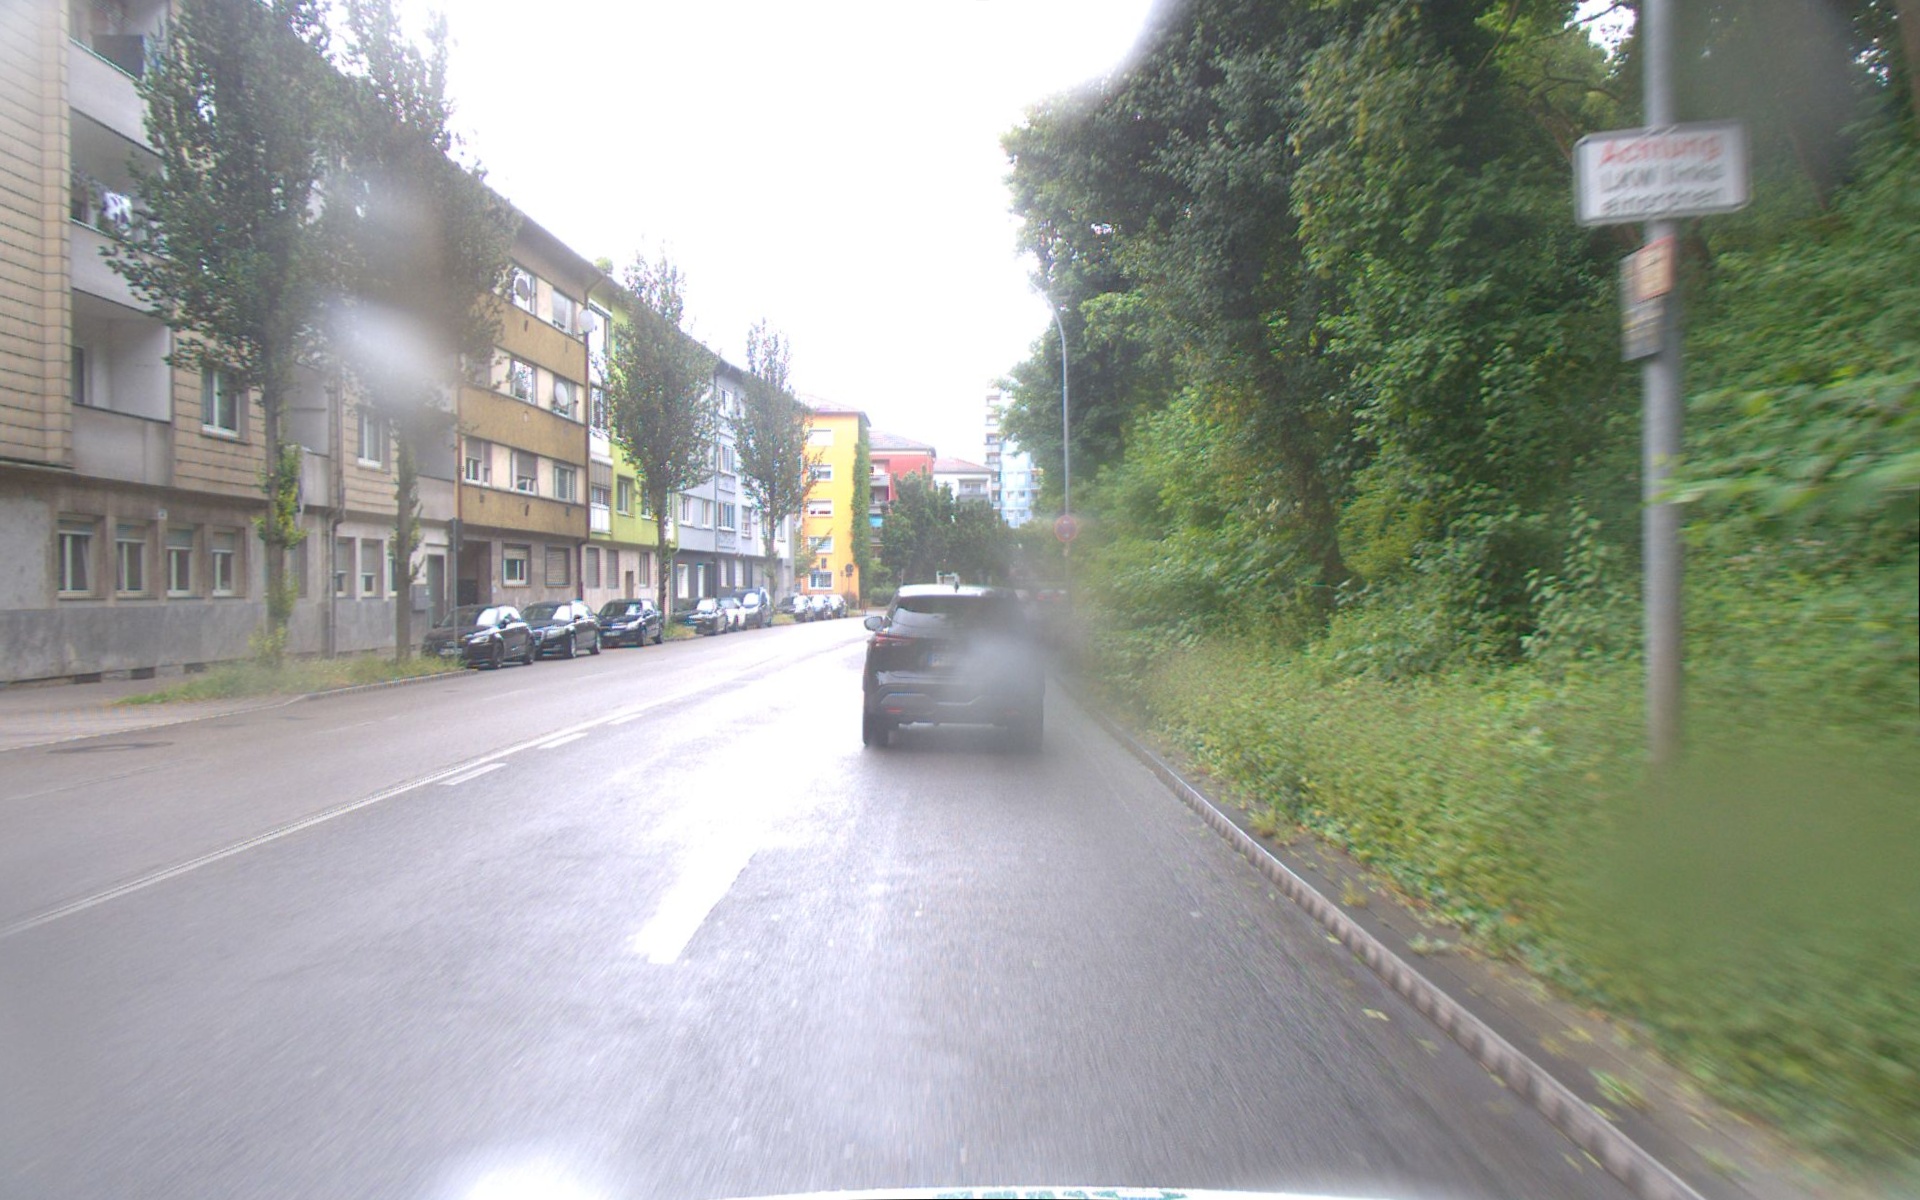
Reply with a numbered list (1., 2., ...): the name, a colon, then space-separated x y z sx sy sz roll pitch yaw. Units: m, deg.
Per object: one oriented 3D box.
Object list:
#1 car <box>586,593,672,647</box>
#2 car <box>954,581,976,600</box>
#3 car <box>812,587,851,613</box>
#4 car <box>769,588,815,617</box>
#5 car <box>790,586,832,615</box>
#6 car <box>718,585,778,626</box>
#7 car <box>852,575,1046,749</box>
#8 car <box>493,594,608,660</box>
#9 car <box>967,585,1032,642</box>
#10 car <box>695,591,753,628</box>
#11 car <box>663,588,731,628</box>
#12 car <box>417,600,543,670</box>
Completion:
1. car: -10.489 0.598 52.726 1.683 1.514 4.516 -2 1 1
2. car: 0.412 -0.822 136.373 1.671 1.504 3.681 -1 0 2
3. car: -7.800 -0.014 100.448 1.676 1.450 4.325 -3 1 4
4. car: -9.012 0.110 88.851 1.653 1.381 4.581 -4 1 3
5. car: -8.496 0.004 94.823 1.645 1.474 4.278 -3 0 4
6. car: -9.663 0.223 75.714 1.851 1.797 4.603 -2 0 4
7. car: -0.120 0.555 17.540 1.807 1.610 4.000 1 1 -1
8. car: -10.665 0.661 43.429 1.780 1.514 4.790 -2 1 0
9. car: 1.284 0.396 52.309 1.847 1.741 4.002 0 0 4
10. car: -9.955 0.391 70.017 1.645 1.400 4.002 -3 1 2
11. car: -10.191 0.284 64.358 1.780 1.396 4.681 -2 1 0
12. car: -10.841 0.748 37.609 1.592 1.411 3.989 -1 1 1
